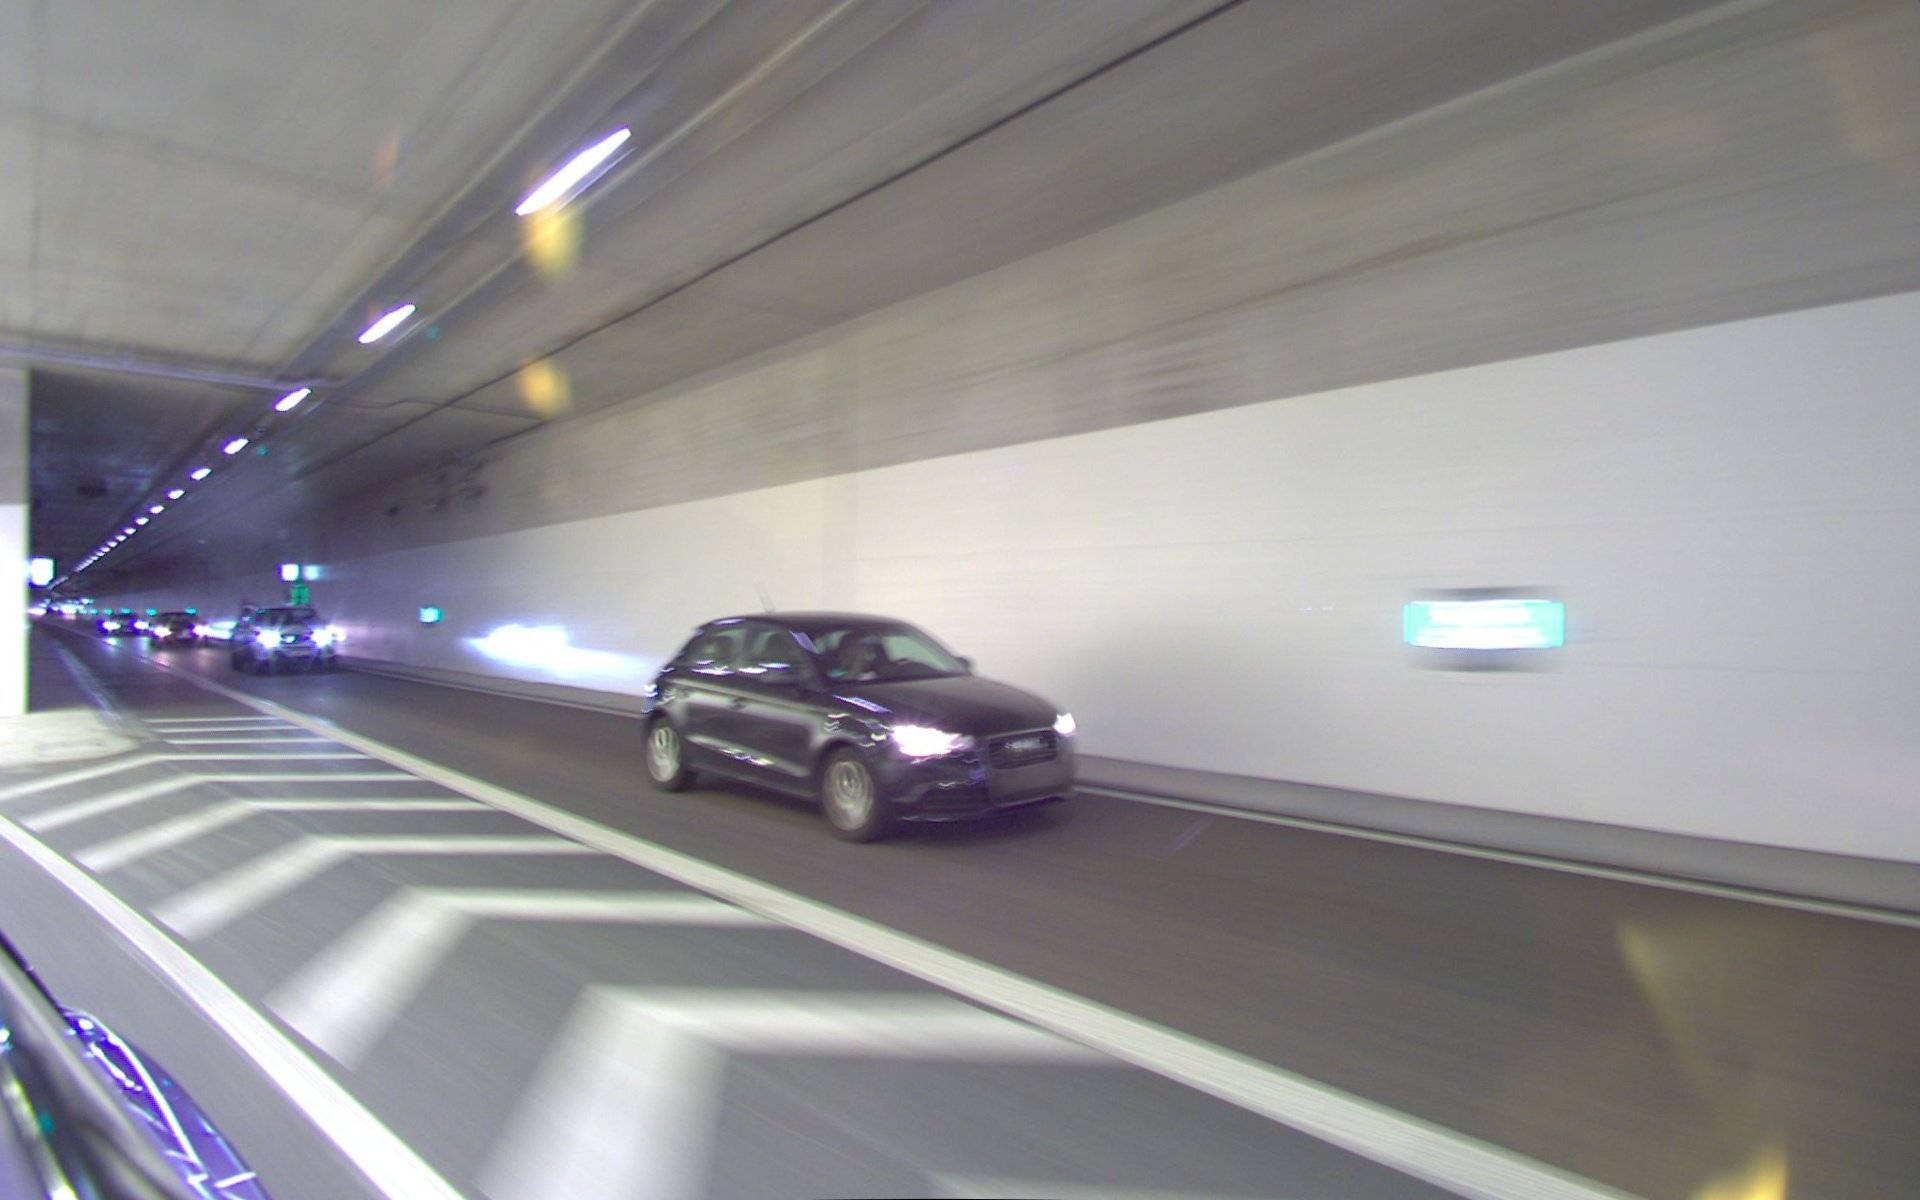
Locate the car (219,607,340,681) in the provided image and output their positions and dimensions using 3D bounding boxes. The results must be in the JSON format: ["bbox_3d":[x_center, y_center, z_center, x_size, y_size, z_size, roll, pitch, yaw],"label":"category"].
[{"bbox_3d":[-16.935,1.046,25.118,1.828,1.677,3.834,0,-1,-44],"label":"car"}]

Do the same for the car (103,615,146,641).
[{"bbox_3d":[-50.813,1.726,61.512,1.694,1.463,3.683,-2,0,-44],"label":"car"}]

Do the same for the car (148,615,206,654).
[{"bbox_3d":[-32.902,1.427,42.489,1.585,1.481,3.684,-2,0,-43],"label":"car"}]

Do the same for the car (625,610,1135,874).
[{"bbox_3d":[-0.796,0.815,7.457,1.637,1.412,3.879,0,-1,-44],"label":"car"}]
